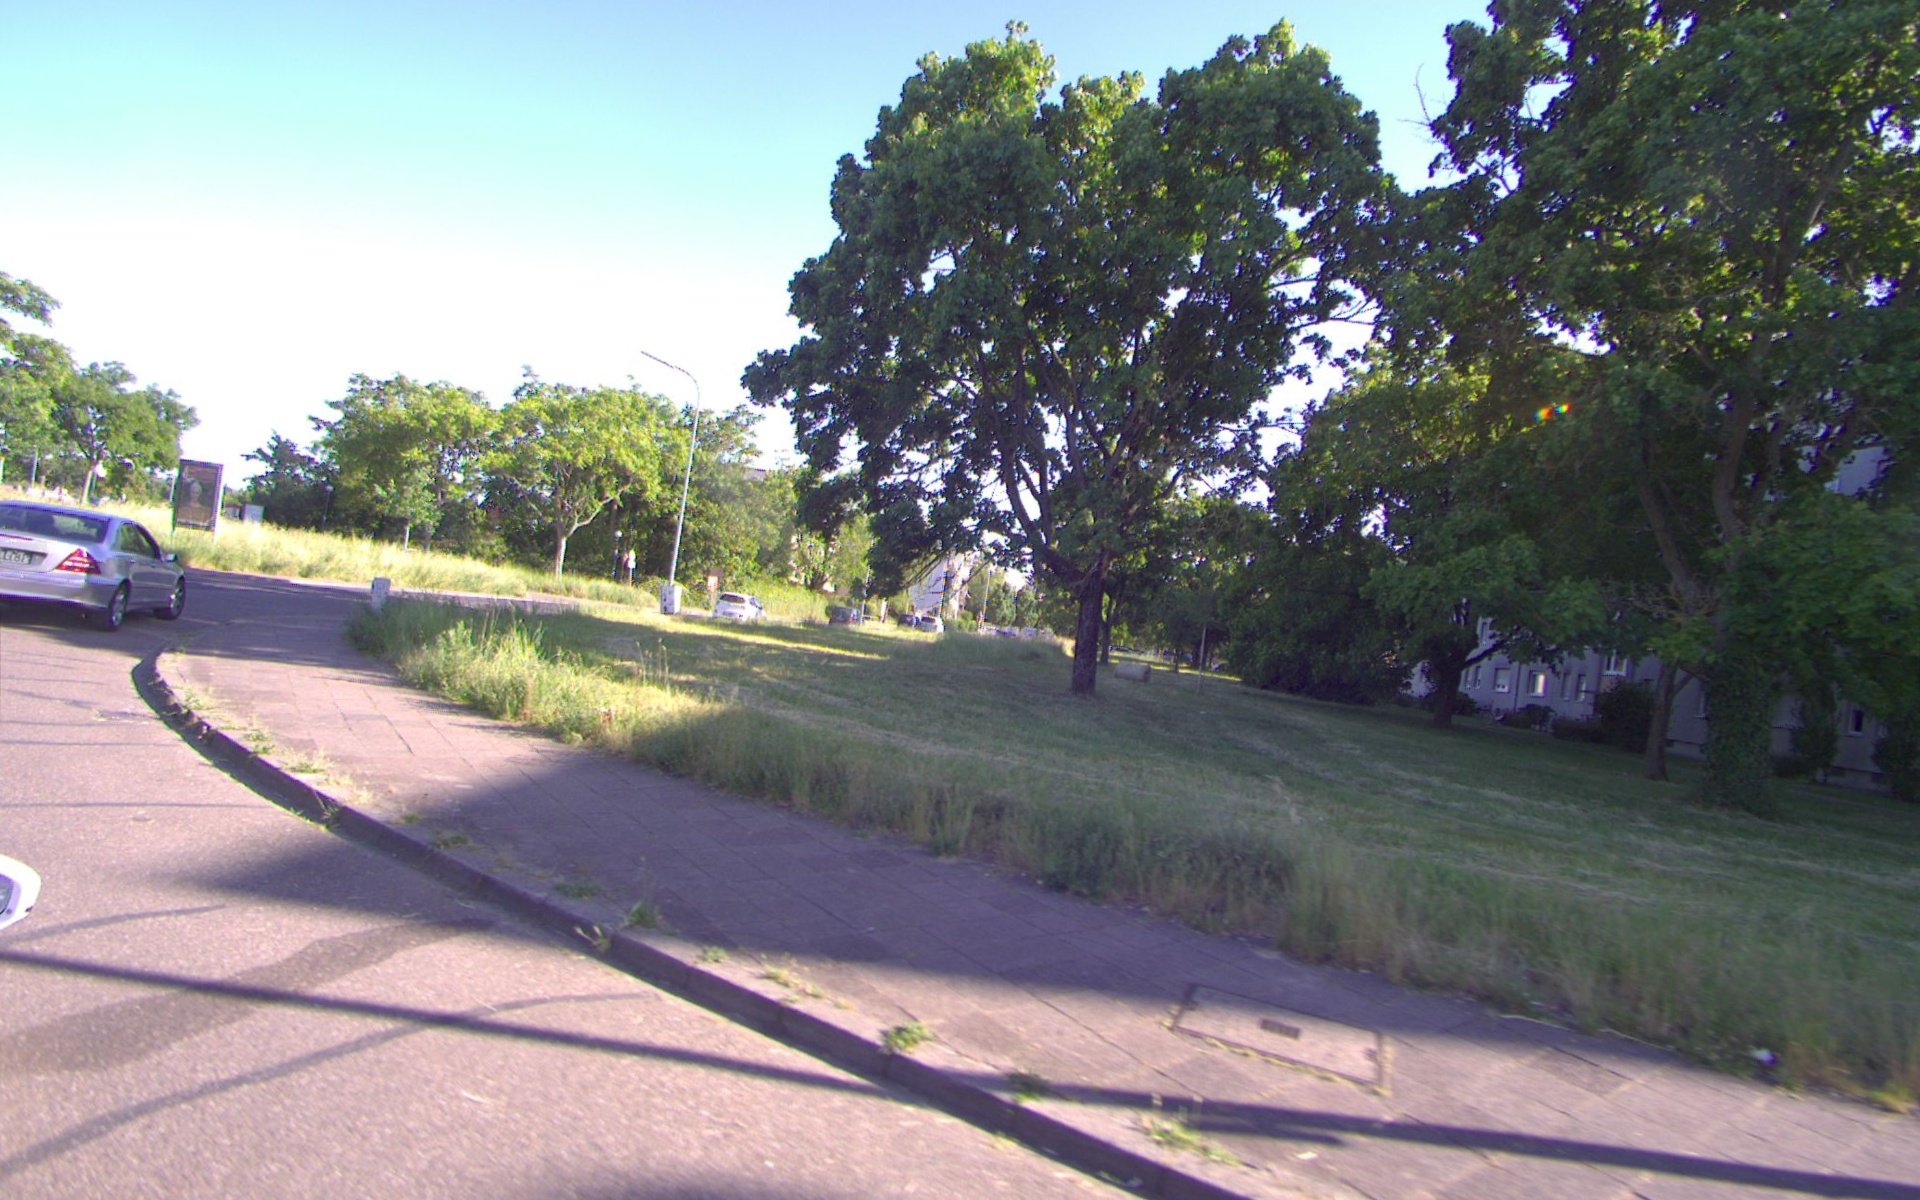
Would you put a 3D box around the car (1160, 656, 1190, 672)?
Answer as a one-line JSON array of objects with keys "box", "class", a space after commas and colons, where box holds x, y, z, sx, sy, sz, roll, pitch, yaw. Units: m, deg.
[{"box": [29.693, 8.832, 139.138, 3.648, 1.635, 1.701, 7, -3, 24], "class": "car"}]

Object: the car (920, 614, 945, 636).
[{"box": [-2.737, 2.502, 100.294, 1.672, 1.873, 3.854, 10, -1, 8], "class": "car"}]

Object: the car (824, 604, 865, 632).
[{"box": [-7.798, 1.246, 68.209, 1.671, 1.630, 4.003, 6, -1, 7], "class": "car"}]

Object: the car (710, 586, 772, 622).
[{"box": [-10.461, 0.213, 48.281, 1.694, 1.497, 3.742, 6, 0, 5], "class": "car"}]

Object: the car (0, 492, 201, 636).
[{"box": [-11.731, -0.531, 13.252, 1.801, 1.480, 4.333, 9, -2, -26], "class": "car"}]

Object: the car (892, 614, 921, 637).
[{"box": [-4.764, 2.308, 90.001, 1.672, 1.780, 3.854, 10, -1, 8], "class": "car"}]
